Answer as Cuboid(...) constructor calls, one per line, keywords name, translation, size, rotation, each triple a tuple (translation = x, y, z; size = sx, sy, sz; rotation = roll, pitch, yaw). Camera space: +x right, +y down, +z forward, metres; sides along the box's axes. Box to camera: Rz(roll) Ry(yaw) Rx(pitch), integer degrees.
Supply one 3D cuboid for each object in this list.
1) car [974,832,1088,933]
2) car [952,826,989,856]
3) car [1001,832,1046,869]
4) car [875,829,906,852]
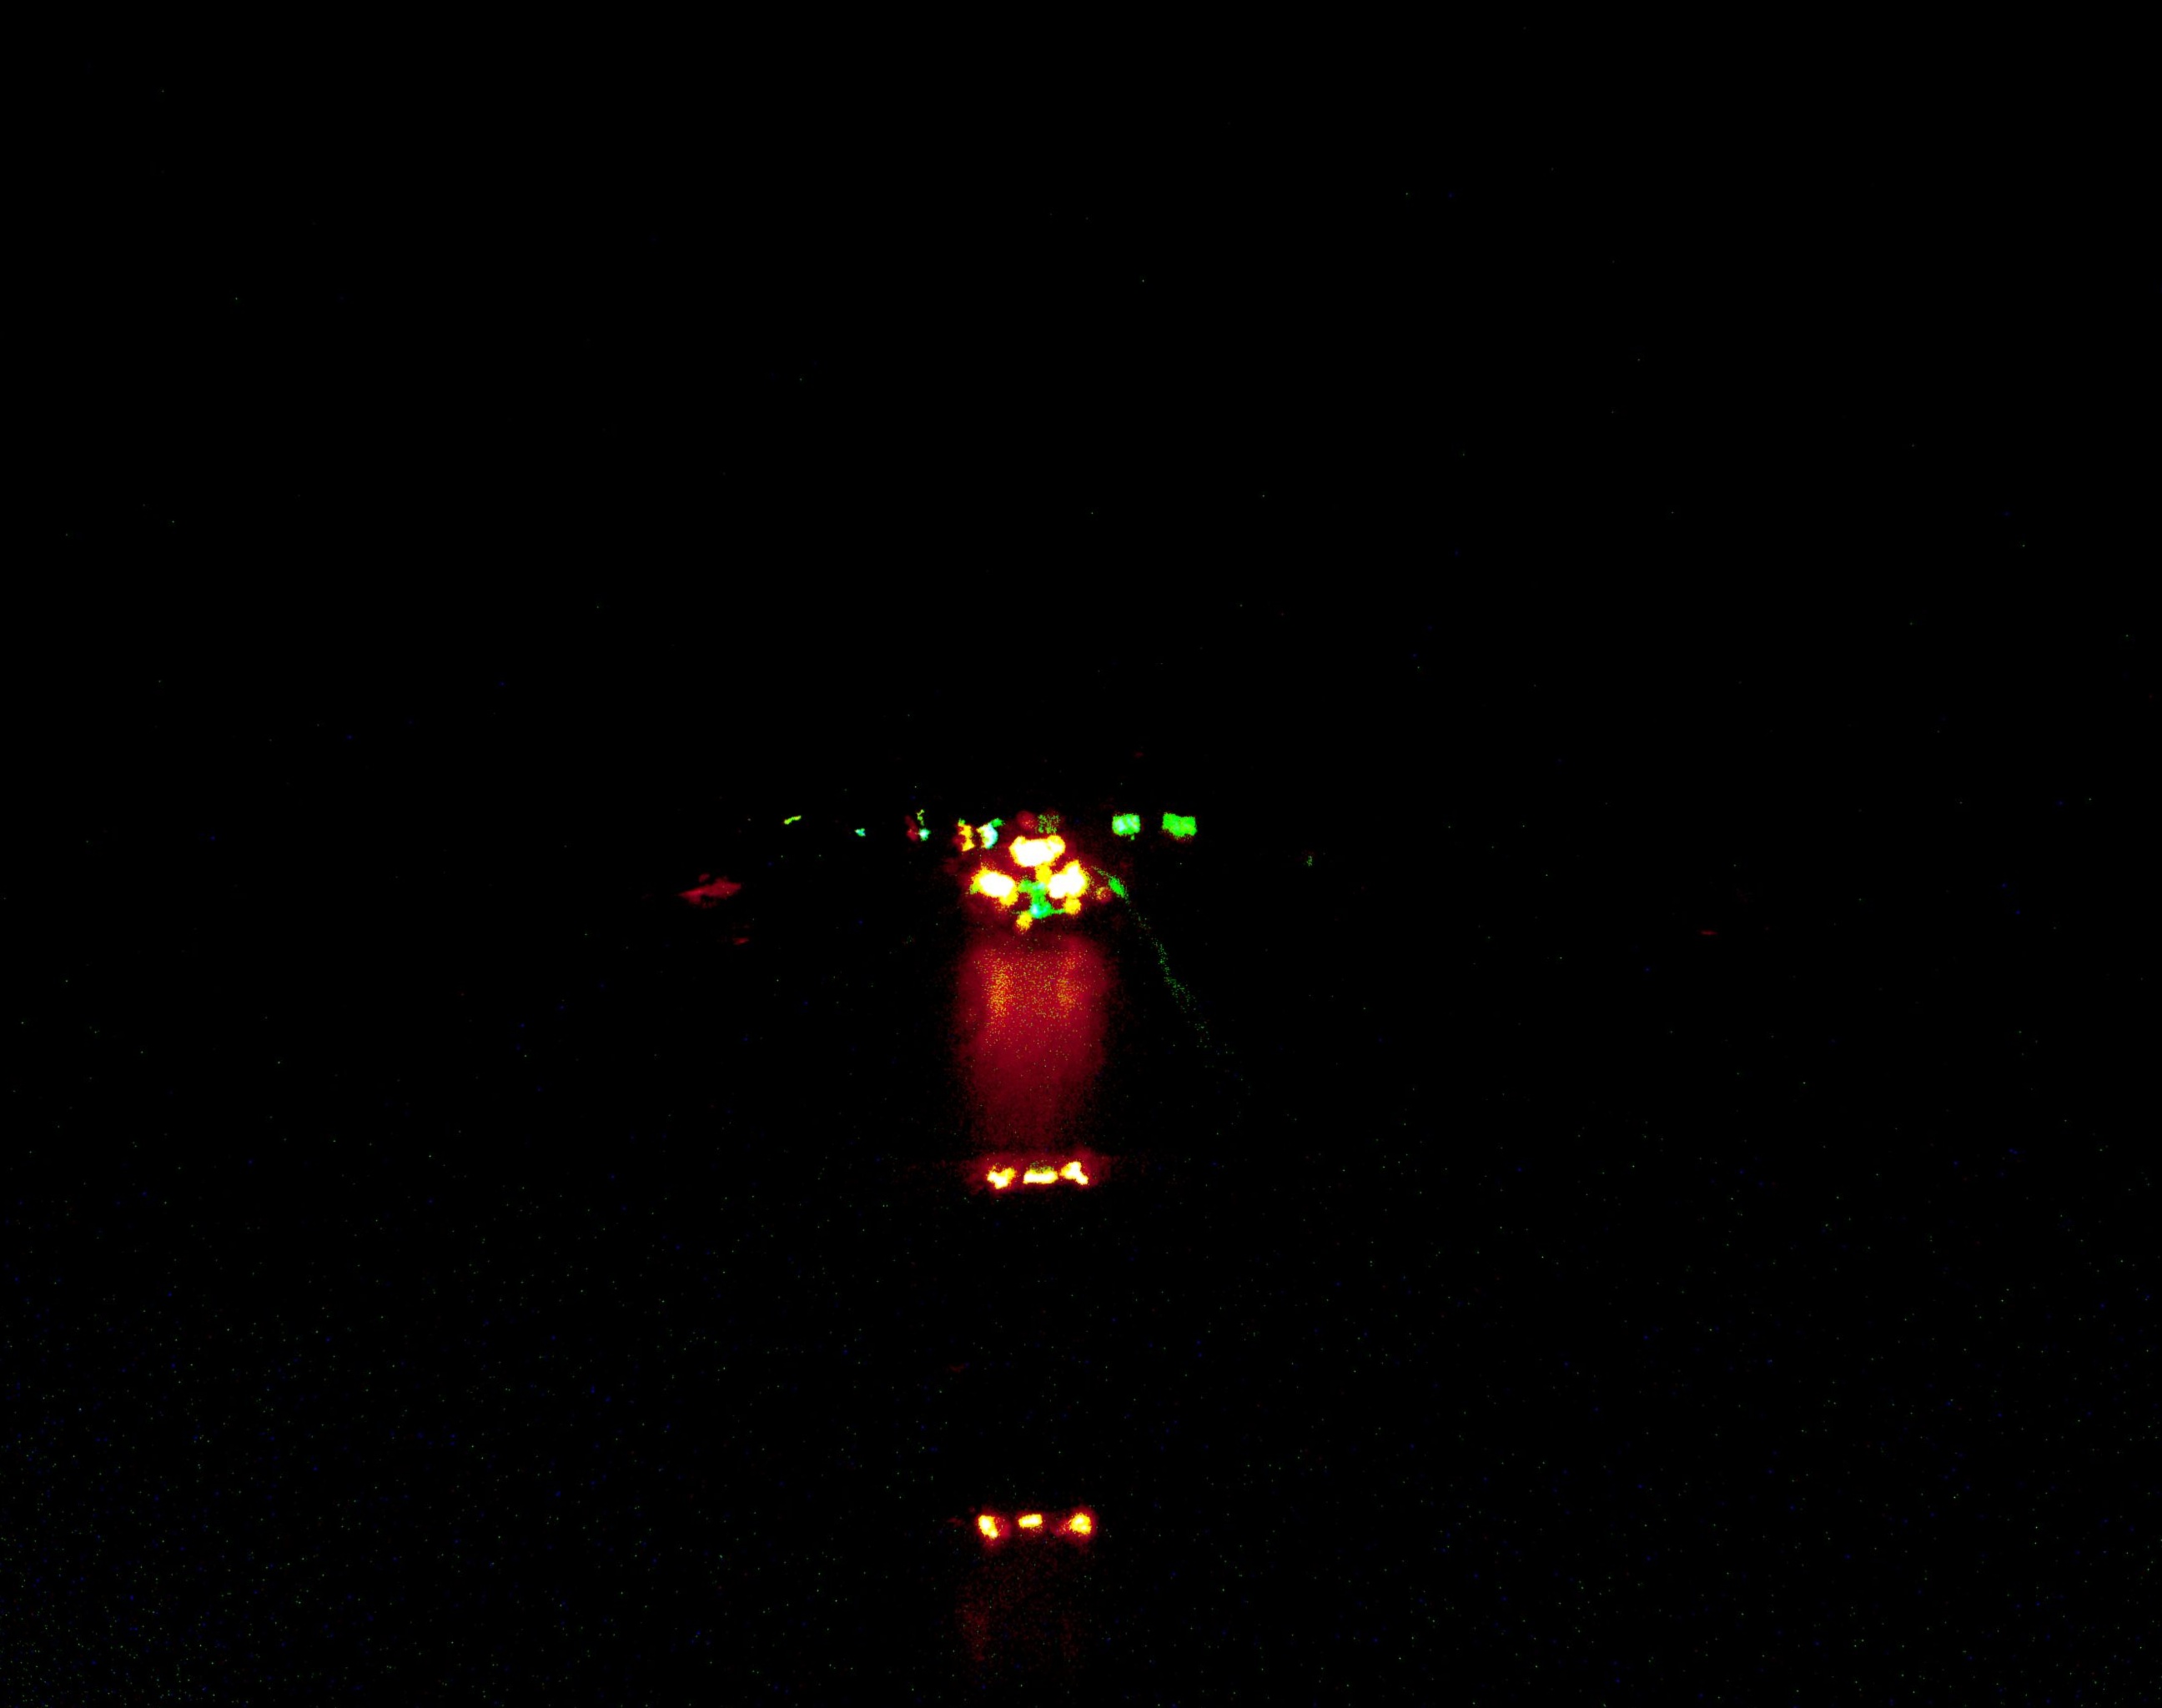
Cuboid(name="car", translation=(-0.964, 0.445, 15.705), size=(1.857, 1.647, 4.063), rotation=(-1, 1, -4))
Cuboid(name="car", translation=(-8.027, -0.960, 59.060), size=(1.901, 2.040, 4.020), rotation=(-2, 2, -19))
Cuboid(name="car", translation=(-2.985, -0.193, 41.512), size=(1.895, 1.720, 4.033), rotation=(-2, 1, -9))
Cuboid(name="car", translation=(-17.341, -1.272, 74.195), size=(1.905, 1.997, 4.012), rotation=(-1, 2, -26))
